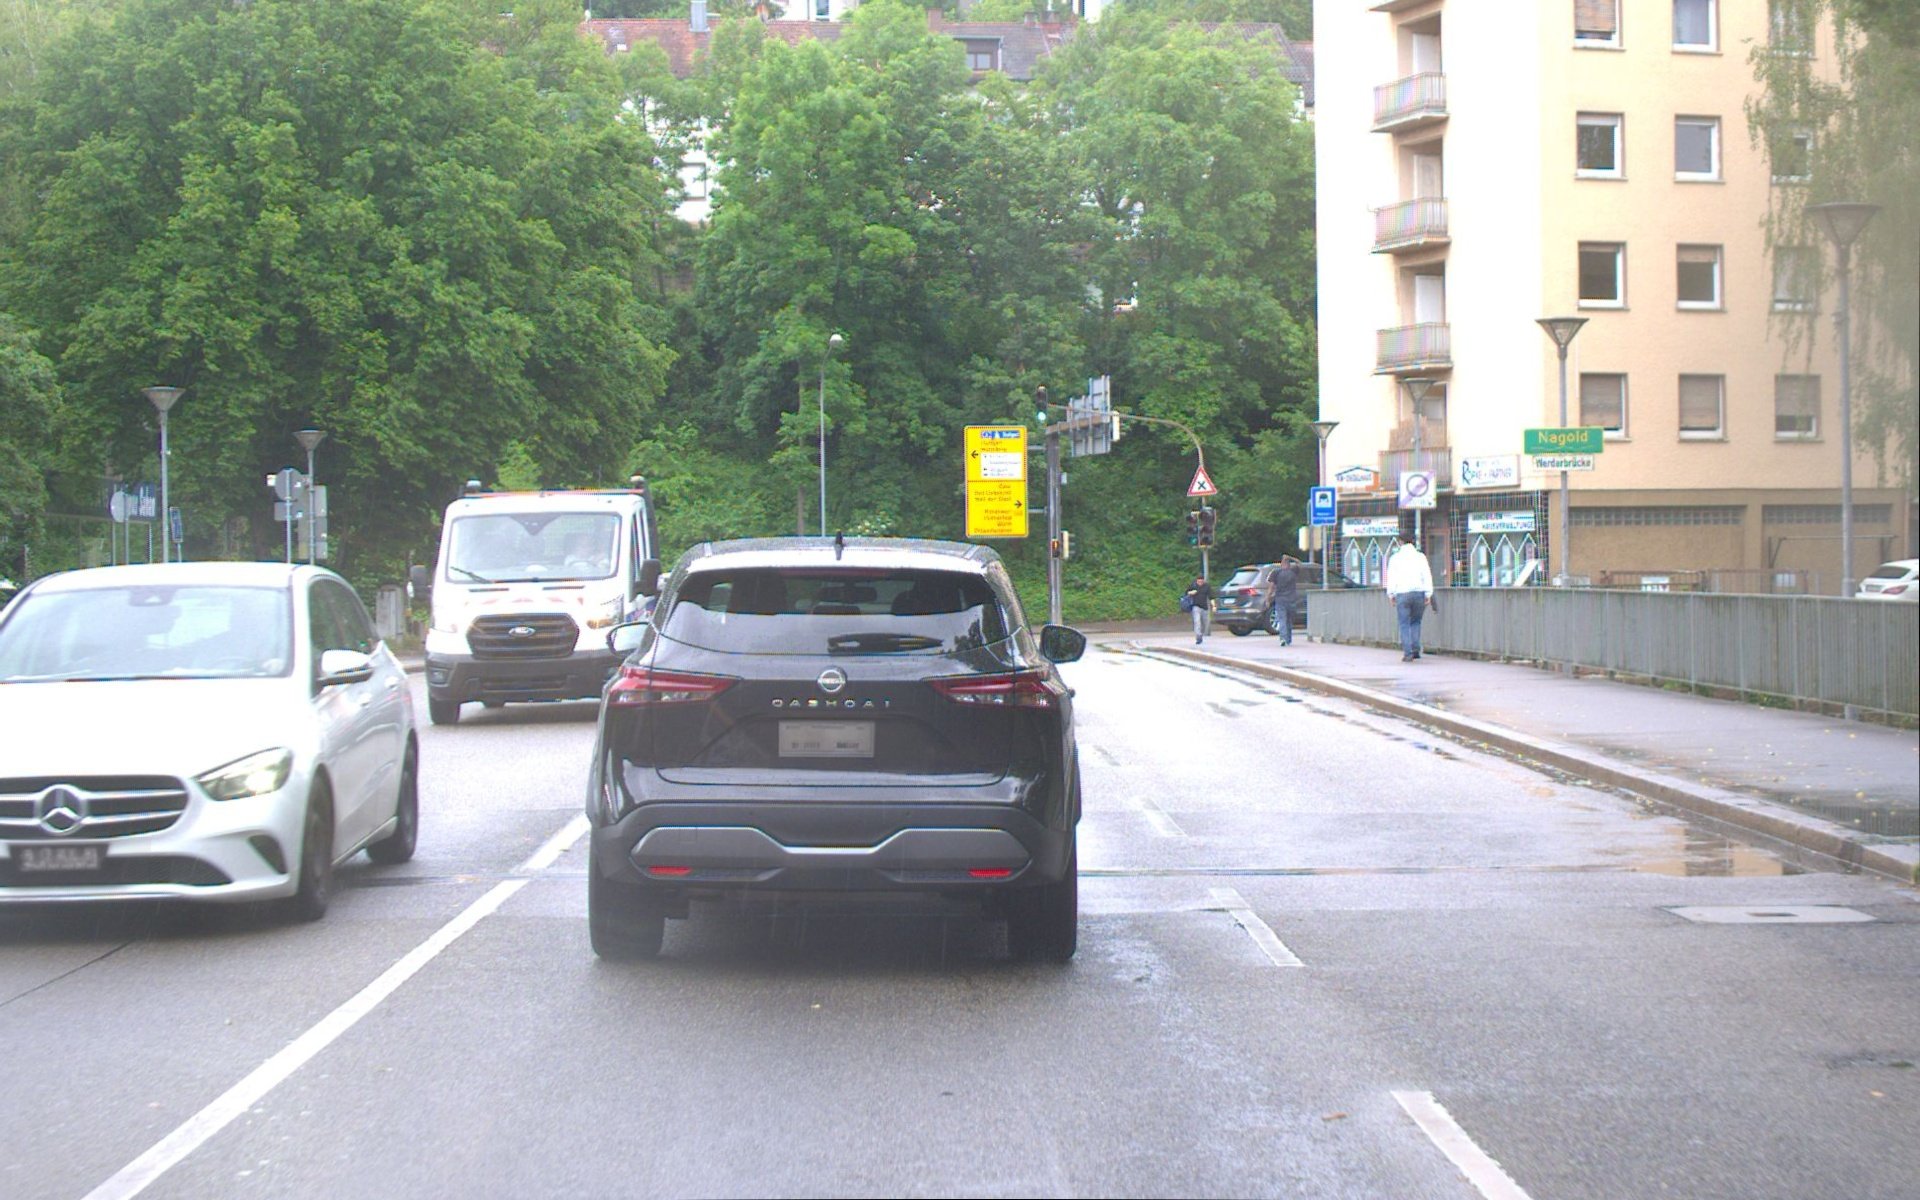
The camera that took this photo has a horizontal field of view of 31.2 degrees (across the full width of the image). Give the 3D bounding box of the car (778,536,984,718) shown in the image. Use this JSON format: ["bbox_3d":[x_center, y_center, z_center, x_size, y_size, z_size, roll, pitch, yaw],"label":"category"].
[{"bbox_3d":[-0.727,0.215,32.641,1.811,1.597,4.000,1,1,-1],"label":"car"}]

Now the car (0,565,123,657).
[{"bbox_3d":[-20.183,0.231,72.494,4.741,1.848,2.001,0,2,-9],"label":"car"}]

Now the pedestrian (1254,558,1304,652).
[{"bbox_3d":[5.839,0.094,62.962,0.761,1.671,0.781,-3,1,0],"label":"pedestrian"}]

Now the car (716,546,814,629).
[{"bbox_3d":[-4.265,-0.294,75.894,1.888,1.729,4.371,-2,1,0],"label":"car"}]

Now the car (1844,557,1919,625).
[{"bbox_3d":[21.842,-0.228,75.455,4.438,1.371,1.818,-1,3,-17],"label":"car"}]

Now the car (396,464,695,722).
[{"bbox_3d":[-4.069,-0.134,34.909,2.289,2.301,6.510,-2,1,-1],"label":"car"}]

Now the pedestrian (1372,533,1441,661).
[{"bbox_3d":[6.177,-0.047,47.648,0.779,1.746,1.061,-1,0,-1],"label":"pedestrian"}]

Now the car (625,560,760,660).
[{"bbox_3d":[-4.024,0.124,52.247,1.745,1.434,4.000,-1,1,0],"label":"car"}]

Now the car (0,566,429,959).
[{"bbox_3d":[-3.618,0.630,15.627,1.781,1.469,4.167,-2,1,-1],"label":"car"}]

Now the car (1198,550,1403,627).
[{"bbox_3d":[7.970,-0.266,80.435,4.366,1.643,1.884,-2,0,-26],"label":"car"}]

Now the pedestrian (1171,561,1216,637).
[{"bbox_3d":[5.058,-0.019,74.372,0.862,1.613,0.839,-2,0,0],"label":"pedestrian"}]

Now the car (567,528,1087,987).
[{"bbox_3d":[-0.492,0.524,14.051,1.811,1.597,4.000,1,1,-1],"label":"car"}]
